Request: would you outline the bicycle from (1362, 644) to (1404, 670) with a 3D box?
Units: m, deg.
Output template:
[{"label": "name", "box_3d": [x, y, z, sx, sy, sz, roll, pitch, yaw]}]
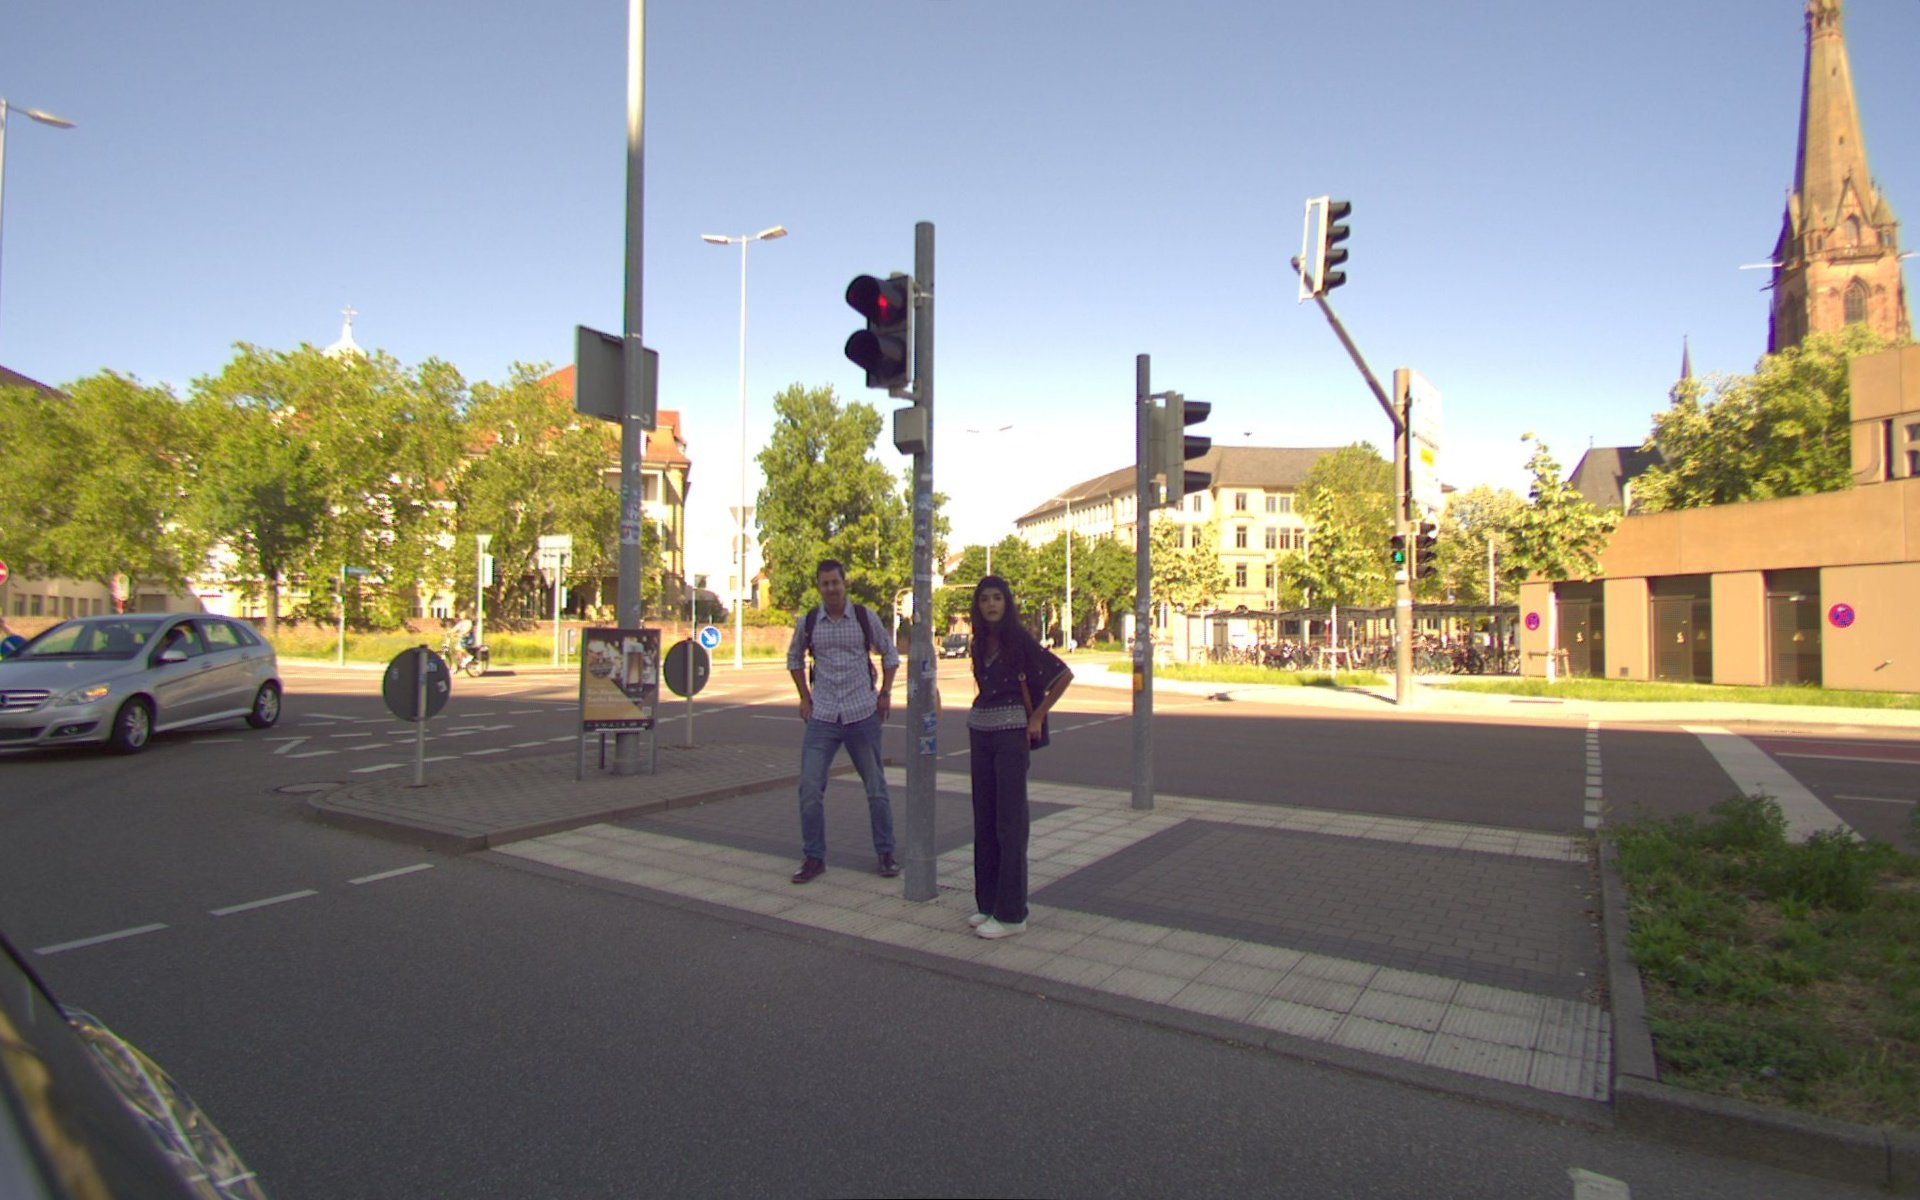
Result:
[{"label": "bicycle", "box_3d": [17.901, 2.405, 42.833, 0.558, 1.046, 1.794, 2, -2, -20]}]

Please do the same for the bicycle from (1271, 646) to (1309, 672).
[{"label": "bicycle", "box_3d": [14.160, 2.539, 43.439, 0.558, 1.046, 1.794, 2, -2, -20]}]

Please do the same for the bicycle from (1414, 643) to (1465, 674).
[{"label": "bicycle", "box_3d": [17.338, 2.105, 36.660, 0.558, 1.046, 1.794, 2, -2, -20]}]

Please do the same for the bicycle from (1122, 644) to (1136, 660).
[{"label": "bicycle", "box_3d": [12.762, 3.929, 76.380, 0.742, 1.174, 1.859, 1, -2, 17]}]

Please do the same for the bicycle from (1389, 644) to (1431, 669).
[{"label": "bicycle", "box_3d": [19.231, 2.404, 43.299, 0.558, 1.046, 1.794, 2, -2, -20]}]

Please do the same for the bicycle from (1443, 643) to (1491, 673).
[{"label": "bicycle", "box_3d": [18.477, 2.105, 36.919, 0.558, 1.046, 1.792, 2, -2, -13]}]

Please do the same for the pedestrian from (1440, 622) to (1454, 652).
[{"label": "pedestrian", "box_3d": [29.655, 2.261, 61.582, 0.671, 1.736, 0.539, 8, -9, -42]}]

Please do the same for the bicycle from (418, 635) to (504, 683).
[{"label": "bicycle", "box_3d": [-12.557, 1.474, 25.527, 0.640, 1.174, 1.949, -2, -3, 27]}]

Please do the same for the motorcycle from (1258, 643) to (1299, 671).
[{"label": "motorcycle", "box_3d": [13.092, 2.344, 41.718, 0.585, 1.128, 1.991, 1, -3, -16]}]

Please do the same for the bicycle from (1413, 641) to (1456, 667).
[{"label": "bicycle", "box_3d": [20.501, 2.330, 43.751, 0.558, 1.046, 1.794, 2, -2, -20]}]

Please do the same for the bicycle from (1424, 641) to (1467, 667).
[{"label": "bicycle", "box_3d": [21.090, 2.342, 43.955, 0.558, 1.046, 1.794, 2, -2, -20]}]

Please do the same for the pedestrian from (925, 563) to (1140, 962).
[{"label": "pedestrian", "box_3d": [0.322, 0.673, 4.632, 0.671, 1.624, 0.721, 1, -2, -38]}]

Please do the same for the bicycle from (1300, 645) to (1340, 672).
[{"label": "bicycle", "box_3d": [14.819, 2.396, 41.701, 0.558, 1.046, 1.794, 2, -2, -20]}]

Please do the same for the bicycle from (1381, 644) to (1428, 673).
[{"label": "bicycle", "box_3d": [16.946, 2.223, 38.628, 0.558, 1.046, 1.794, 2, -2, -20]}]

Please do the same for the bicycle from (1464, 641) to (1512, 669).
[{"label": "bicycle", "box_3d": [21.052, 2.183, 40.409, 0.558, 1.046, 1.794, 2, -2, -20]}]

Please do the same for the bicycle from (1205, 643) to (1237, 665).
[{"label": "bicycle", "box_3d": [12.728, 2.638, 49.393, 0.558, 1.046, 1.794, 2, -2, -20]}]

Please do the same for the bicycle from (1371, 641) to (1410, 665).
[{"label": "bicycle", "box_3d": [19.424, 2.389, 45.701, 0.558, 1.046, 1.794, 2, -2, -20]}]

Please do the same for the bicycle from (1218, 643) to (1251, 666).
[{"label": "bicycle", "box_3d": [12.805, 2.545, 47.267, 0.558, 1.046, 1.794, 2, -2, -20]}]

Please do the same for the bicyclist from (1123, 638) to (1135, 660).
[{"label": "bicyclist", "box_3d": [12.773, 3.696, 76.432, 0.716, 1.633, 0.972, 0, -2, 17]}]

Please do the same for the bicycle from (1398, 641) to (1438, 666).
[{"label": "bicycle", "box_3d": [20.854, 2.427, 46.082, 0.558, 1.046, 1.794, 2, -2, -20]}]

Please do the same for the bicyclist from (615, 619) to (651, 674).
[{"label": "bicyclist", "box_3d": [-10.241, 1.452, 31.713, 0.779, 1.675, 0.772, -2, -2, 17]}]

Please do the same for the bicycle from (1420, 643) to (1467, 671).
[{"label": "bicycle", "box_3d": [18.944, 2.210, 39.668, 0.558, 1.046, 1.794, 2, -2, -20]}]

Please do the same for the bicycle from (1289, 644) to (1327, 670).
[{"label": "bicycle", "box_3d": [15.154, 2.473, 44.070, 0.558, 1.046, 1.794, 2, -2, -20]}]

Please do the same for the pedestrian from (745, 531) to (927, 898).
[{"label": "pedestrian", "box_3d": [-0.661, 0.588, 5.718, 0.748, 1.847, 1.092, -1, -1, 9]}]

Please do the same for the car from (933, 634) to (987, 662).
[{"label": "car", "box_3d": [0.040, 2.790, 58.944, 1.983, 1.484, 4.274, -3, -3, 17]}]

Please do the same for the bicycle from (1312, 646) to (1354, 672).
[{"label": "bicycle", "box_3d": [15.435, 2.429, 41.917, 0.558, 1.046, 1.794, 2, -2, -20]}]

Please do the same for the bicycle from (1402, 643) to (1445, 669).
[{"label": "bicycle", "box_3d": [19.936, 2.393, 43.561, 0.558, 1.046, 1.794, 2, -2, -20]}]

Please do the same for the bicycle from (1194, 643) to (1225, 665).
[{"label": "bicycle", "box_3d": [12.126, 2.612, 49.177, 0.558, 1.046, 1.794, 2, -2, -20]}]

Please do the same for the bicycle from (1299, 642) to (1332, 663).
[{"label": "bicycle", "box_3d": [18.038, 2.664, 51.390, 0.558, 1.046, 1.794, 2, -2, -20]}]

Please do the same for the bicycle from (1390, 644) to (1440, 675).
[{"label": "bicycle", "box_3d": [16.400, 2.124, 36.509, 0.558, 1.046, 1.794, 2, -2, -20]}]

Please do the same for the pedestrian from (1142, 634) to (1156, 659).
[{"label": "pedestrian", "box_3d": [12.917, 3.189, 69.025, 0.784, 1.694, 0.644, -3, -3, 19]}]

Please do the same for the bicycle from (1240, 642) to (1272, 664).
[{"label": "bicycle", "box_3d": [14.641, 2.634, 50.111, 0.558, 1.046, 1.794, 2, -2, -20]}]

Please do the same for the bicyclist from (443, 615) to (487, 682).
[{"label": "bicyclist", "box_3d": [-12.520, 1.219, 25.606, 0.640, 1.675, 0.769, -2, -3, 28]}]

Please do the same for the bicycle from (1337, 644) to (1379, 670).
[{"label": "bicycle", "box_3d": [16.668, 2.380, 42.407, 0.558, 1.046, 1.794, 2, -2, -20]}]

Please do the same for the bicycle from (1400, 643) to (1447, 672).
[{"label": "bicycle", "box_3d": [18.013, 2.230, 39.352, 0.558, 1.046, 1.794, 2, -2, -20]}]

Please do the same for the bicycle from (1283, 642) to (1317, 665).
[{"label": "bicycle", "box_3d": [16.270, 2.552, 48.462, 0.558, 1.046, 1.794, 2, -2, -20]}]

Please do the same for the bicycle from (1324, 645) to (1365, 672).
[{"label": "bicycle", "box_3d": [15.991, 2.419, 42.127, 0.558, 1.046, 1.794, 2, -2, -20]}]

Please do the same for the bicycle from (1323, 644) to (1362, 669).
[{"label": "bicycle", "box_3d": [16.936, 2.477, 44.809, 0.558, 1.046, 1.794, 2, -2, -20]}]

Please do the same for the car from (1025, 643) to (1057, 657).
[{"label": "car", "box_3d": [10.754, 6.576, 133.830, 3.736, 1.830, 2.006, 1, -3, -30]}]

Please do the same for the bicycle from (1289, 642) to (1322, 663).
[{"label": "bicycle", "box_3d": [17.485, 2.646, 51.205, 0.558, 1.046, 1.794, 2, -2, -20]}]

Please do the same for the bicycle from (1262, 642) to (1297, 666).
[{"label": "bicycle", "box_3d": [15.151, 2.551, 48.038, 0.558, 1.046, 1.794, 2, -2, -20]}]

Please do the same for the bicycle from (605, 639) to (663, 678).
[{"label": "bicycle", "box_3d": [-10.207, 1.812, 31.757, 0.772, 1.174, 1.957, -2, -3, 17]}]

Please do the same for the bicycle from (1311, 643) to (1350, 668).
[{"label": "bicycle", "box_3d": [16.306, 2.457, 44.599, 0.558, 1.046, 1.794, 2, -2, -20]}]

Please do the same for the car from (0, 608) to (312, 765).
[{"label": "car", "box_3d": [-10.250, 0.996, 12.660, 1.744, 1.606, 4.644, 0, -3, -7]}]
